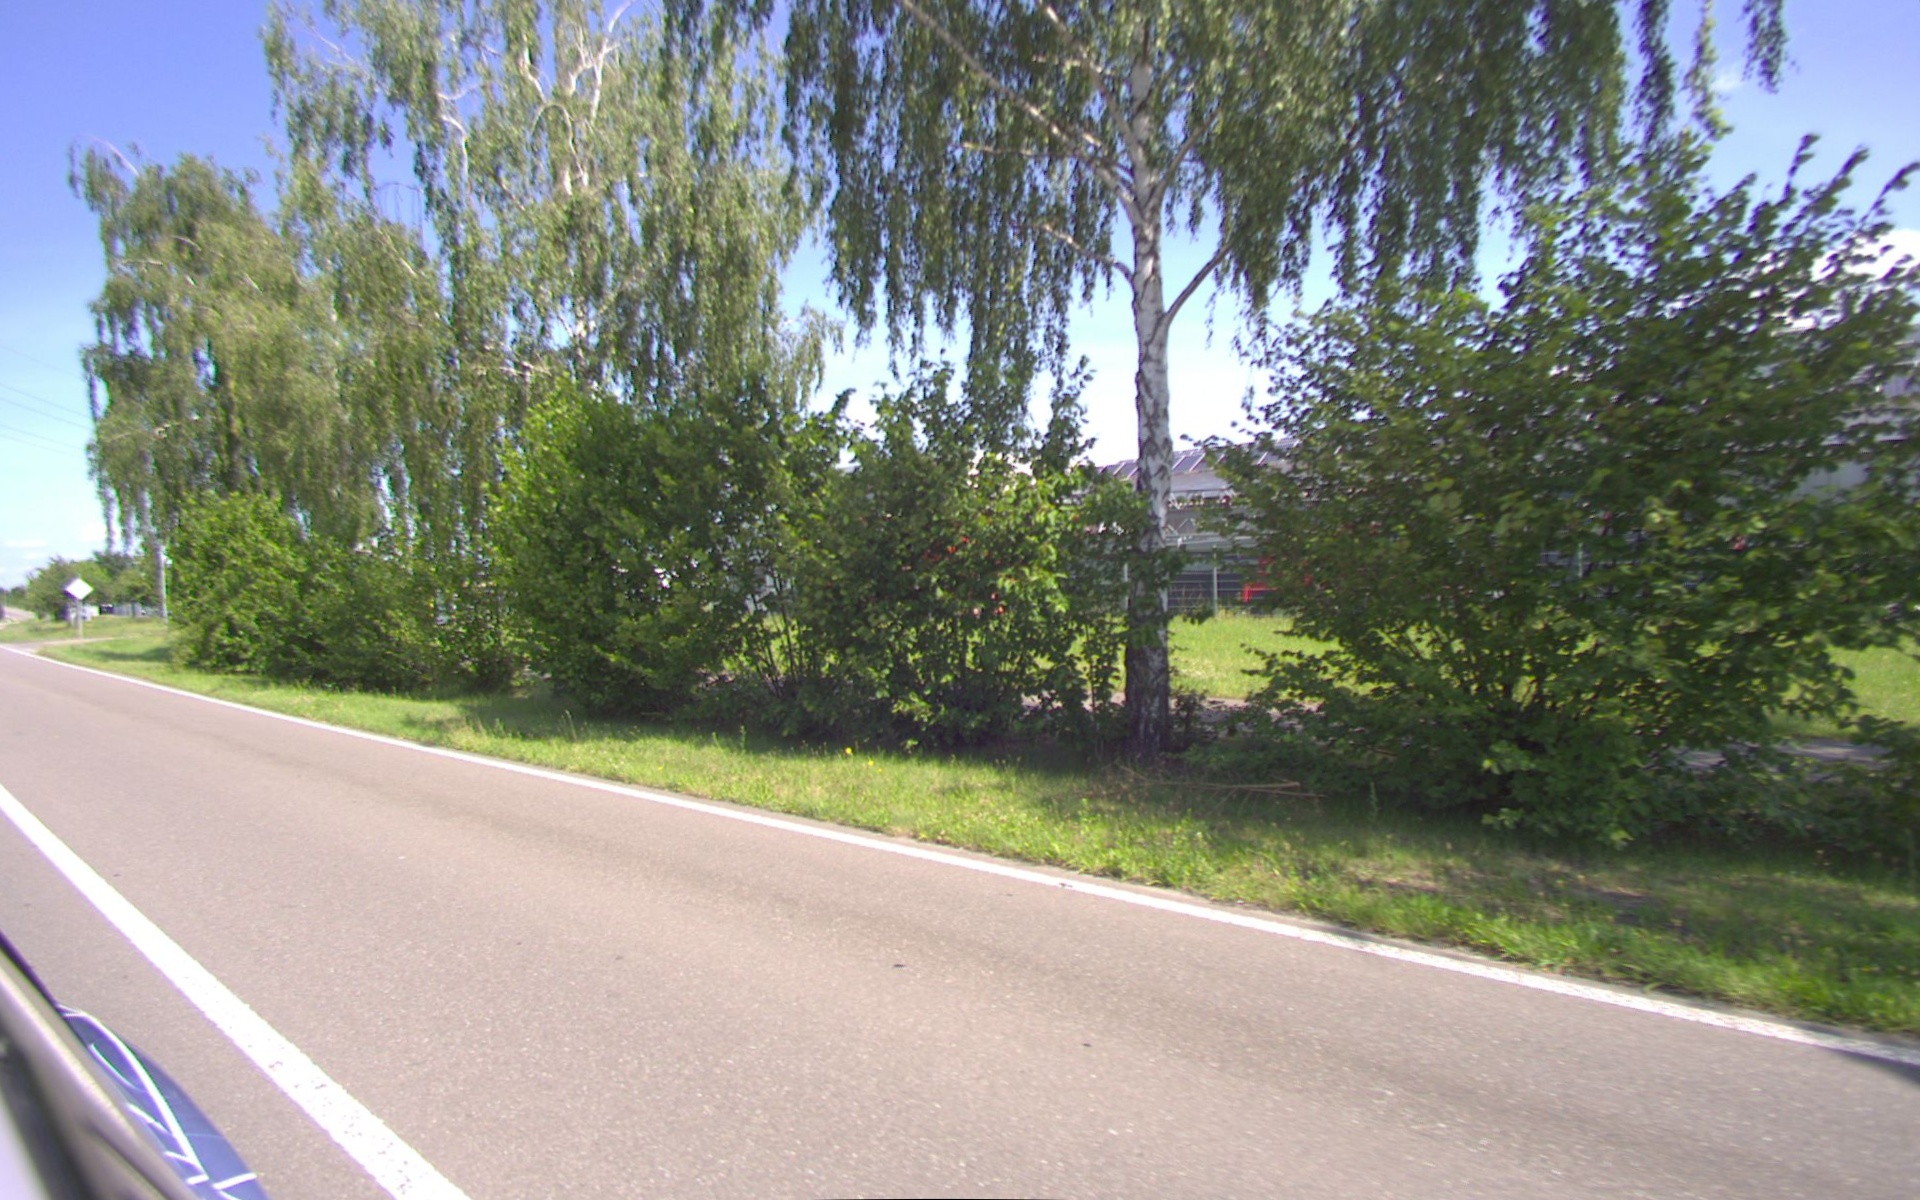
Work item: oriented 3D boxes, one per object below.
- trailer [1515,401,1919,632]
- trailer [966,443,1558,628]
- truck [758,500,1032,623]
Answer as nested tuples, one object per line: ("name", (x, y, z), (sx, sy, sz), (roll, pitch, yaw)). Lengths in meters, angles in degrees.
("trailer", (15.342, -1.342, 18.399), (8.659, 3.672, 3.362), (-1, 0, 43))
("trailer", (6.743, -1.246, 26.442), (14.926, 3.672, 3.254), (-1, 0, 43))
("truck", (-2.584, -1.141, 35.125), (10.594, 3.672, 3.067), (-1, 0, 43))
